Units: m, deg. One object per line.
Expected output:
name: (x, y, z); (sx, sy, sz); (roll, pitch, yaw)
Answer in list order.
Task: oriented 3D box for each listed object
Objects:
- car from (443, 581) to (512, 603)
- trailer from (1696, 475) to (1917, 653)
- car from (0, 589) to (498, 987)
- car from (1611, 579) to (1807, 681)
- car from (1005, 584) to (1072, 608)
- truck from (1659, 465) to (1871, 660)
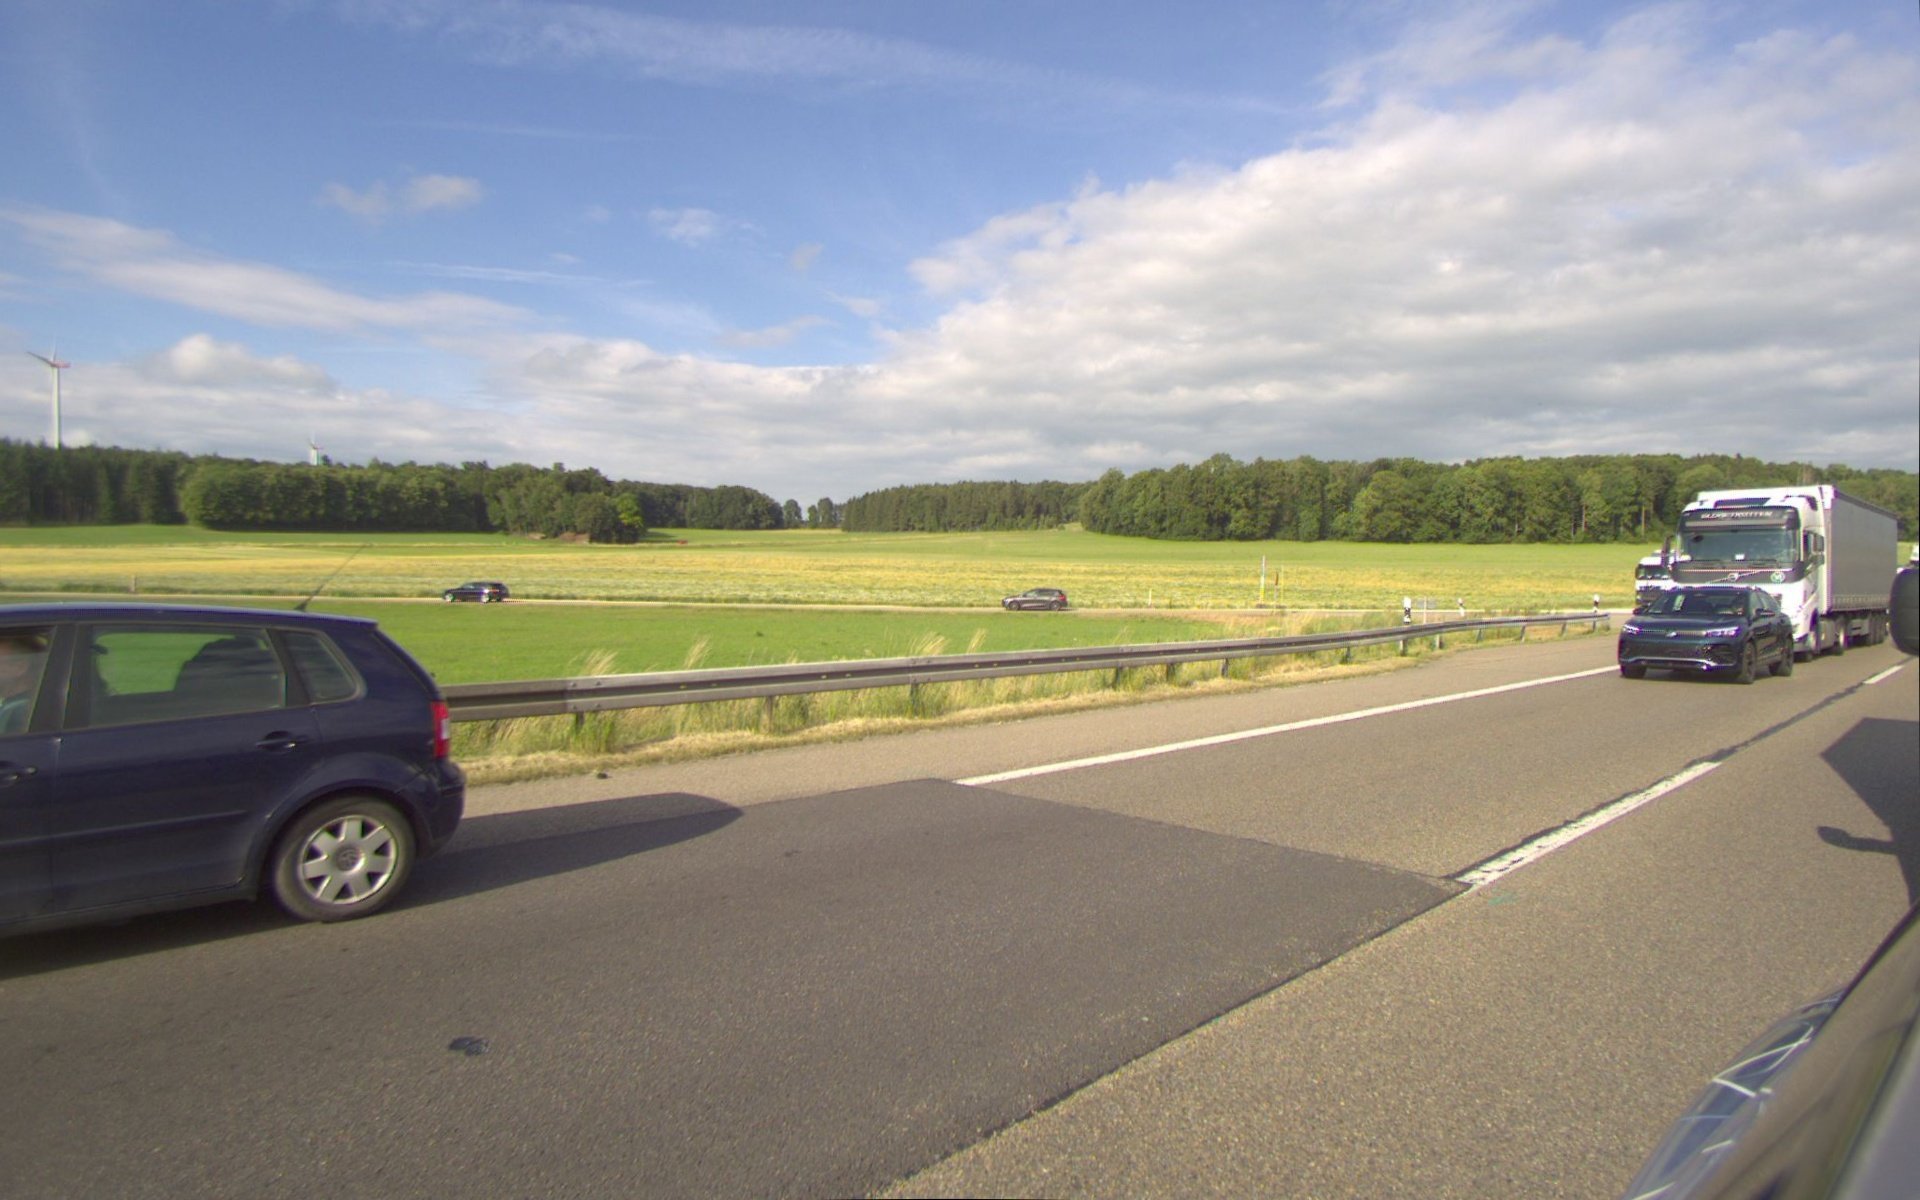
car: (-34.091, -0.577, 71.593); (4.154, 1.505, 1.832); (0, 0, 12)
trailer: (23.674, -0.880, 27.939); (11.916, 4.032, 2.824); (-1, 0, -41)
car: (-4.185, 0.695, 4.312); (3.710, 1.464, 1.712); (-1, 1, -42)
car: (13.434, 0.449, 18.073); (4.047, 1.616, 1.997); (-1, 1, -41)
car: (5.050, -0.289, 65.104); (4.154, 1.505, 1.832); (0, 0, 12)
truck: (19.333, -0.819, 24.163); (6.387, 4.040, 2.840); (-1, 0, -41)
